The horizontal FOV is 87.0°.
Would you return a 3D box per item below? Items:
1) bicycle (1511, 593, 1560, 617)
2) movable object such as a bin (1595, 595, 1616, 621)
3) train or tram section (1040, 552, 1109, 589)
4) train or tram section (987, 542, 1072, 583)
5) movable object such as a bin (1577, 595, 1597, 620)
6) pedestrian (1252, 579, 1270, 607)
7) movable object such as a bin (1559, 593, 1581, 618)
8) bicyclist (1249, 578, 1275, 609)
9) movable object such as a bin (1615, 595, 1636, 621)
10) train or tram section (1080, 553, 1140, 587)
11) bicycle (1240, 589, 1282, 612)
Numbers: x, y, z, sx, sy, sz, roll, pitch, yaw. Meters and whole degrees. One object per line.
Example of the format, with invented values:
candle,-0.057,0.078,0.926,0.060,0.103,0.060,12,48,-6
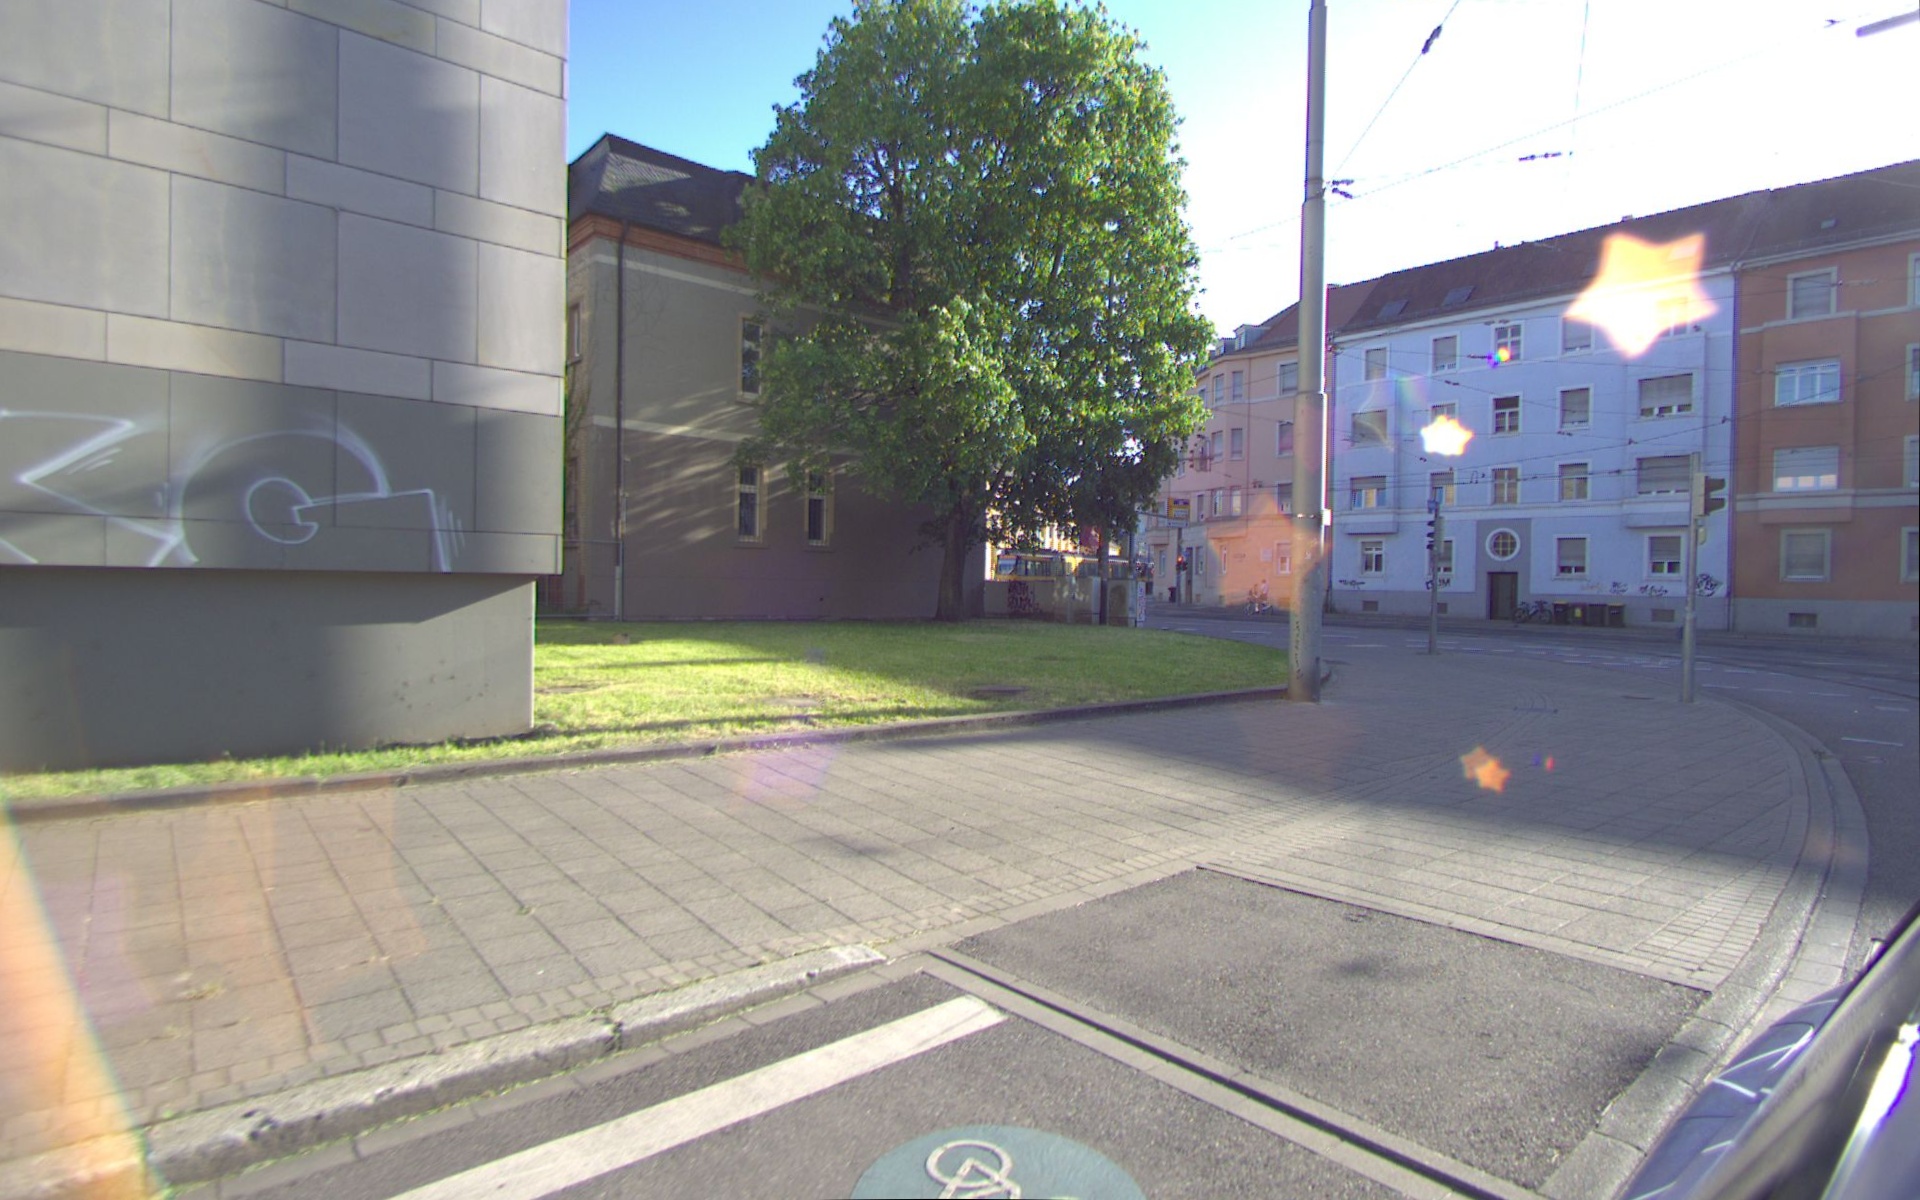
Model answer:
bicycle,26.784,0.220,47.108,0.597,0.992,1.874,-1,3,-41
movable object such as a bin,28.634,0.350,44.910,0.692,1.120,0.582,0,2,-41
train or tram section,11.329,-2.925,98.716,3.136,3.397,10.582,2,2,27
train or tram section,6.300,-3.233,88.812,3.138,3.362,11.707,1,2,27
movable object such as a bin,28.185,0.325,45.475,0.692,1.120,0.582,0,2,-41
pedestrian,17.235,-0.425,57.870,0.665,1.583,0.719,0,1,-40
movable object such as a bin,27.729,0.245,45.986,0.692,1.120,0.647,0,2,-41
bicyclist,16.596,-0.371,55.614,0.736,1.663,1.124,0,1,-41
movable object such as a bin,29.111,0.355,44.269,0.692,1.120,0.582,0,2,-41
train or tram section,16.151,-3.260,108.227,3.136,3.397,10.750,2,2,27
bicycle,16.546,0.005,55.653,0.736,1.205,2.149,0,2,-40
